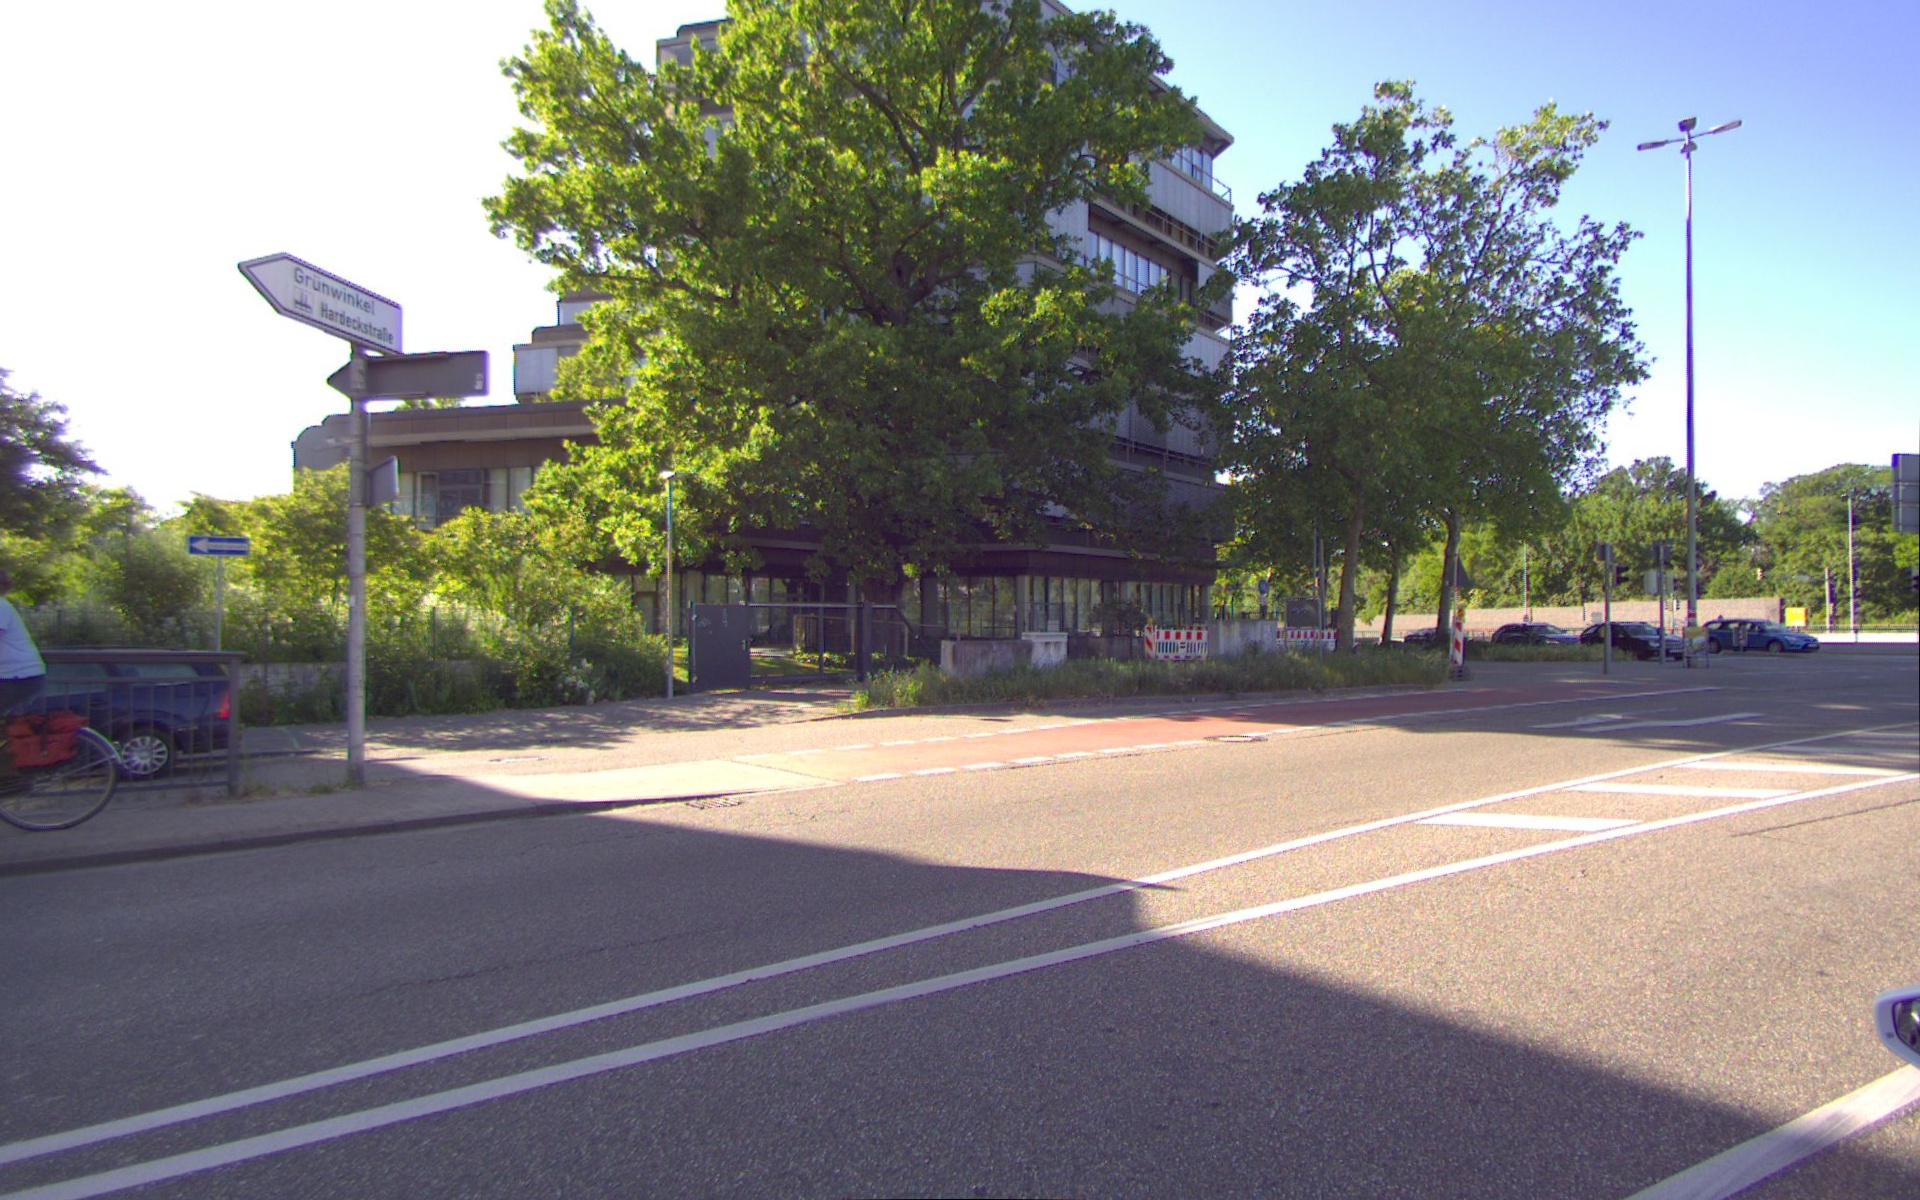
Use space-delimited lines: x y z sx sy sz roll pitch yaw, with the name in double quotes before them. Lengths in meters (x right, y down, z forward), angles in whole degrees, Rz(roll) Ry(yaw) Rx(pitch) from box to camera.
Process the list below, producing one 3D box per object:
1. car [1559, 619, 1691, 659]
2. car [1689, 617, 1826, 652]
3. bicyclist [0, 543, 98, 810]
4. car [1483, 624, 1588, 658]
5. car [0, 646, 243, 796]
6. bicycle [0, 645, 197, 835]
"car" 25.570 1.482 38.809 1.792 1.457 4.446 0 -2 -7
"car" 34.346 1.478 43.434 1.796 1.457 4.438 0 -2 -15
"bicyclist" -6.531 0.496 6.655 1.189 1.723 0.680 2 -2 -43
"car" 25.861 1.809 45.290 1.792 1.457 4.446 0 -2 -7
"car" -10.770 1.326 11.242 4.411 1.523 1.806 1 -2 -38
"bicycle" -6.539 0.911 6.641 2.311 1.218 0.680 2 -2 -43
